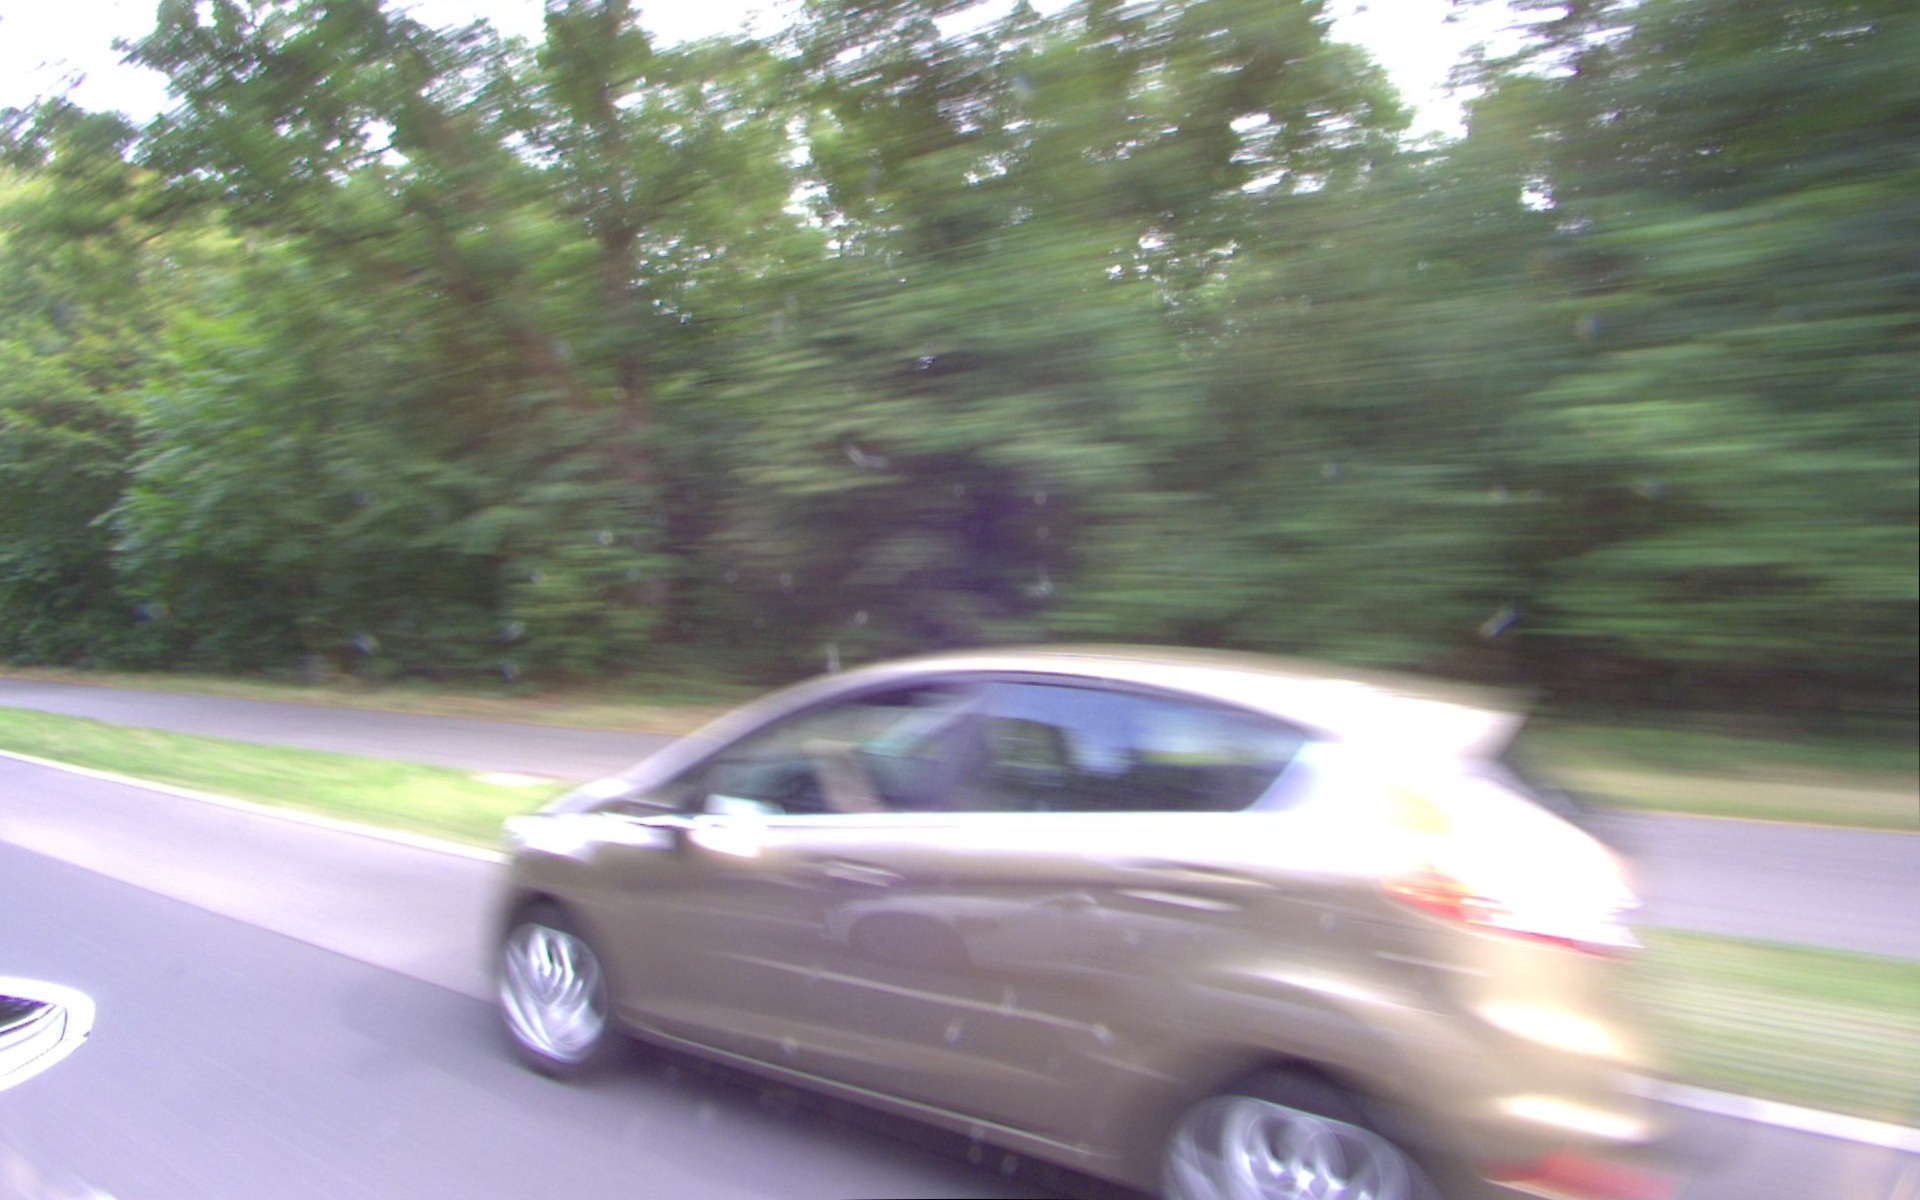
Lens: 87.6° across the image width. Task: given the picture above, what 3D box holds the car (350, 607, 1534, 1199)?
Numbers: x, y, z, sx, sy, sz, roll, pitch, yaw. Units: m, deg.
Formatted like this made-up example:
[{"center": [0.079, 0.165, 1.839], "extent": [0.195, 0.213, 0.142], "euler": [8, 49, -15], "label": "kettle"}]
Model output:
[{"center": [-0.263, 0.825, 3.554], "extent": [3.943, 1.437, 1.633], "euler": [-2, -3, 32], "label": "car"}]
